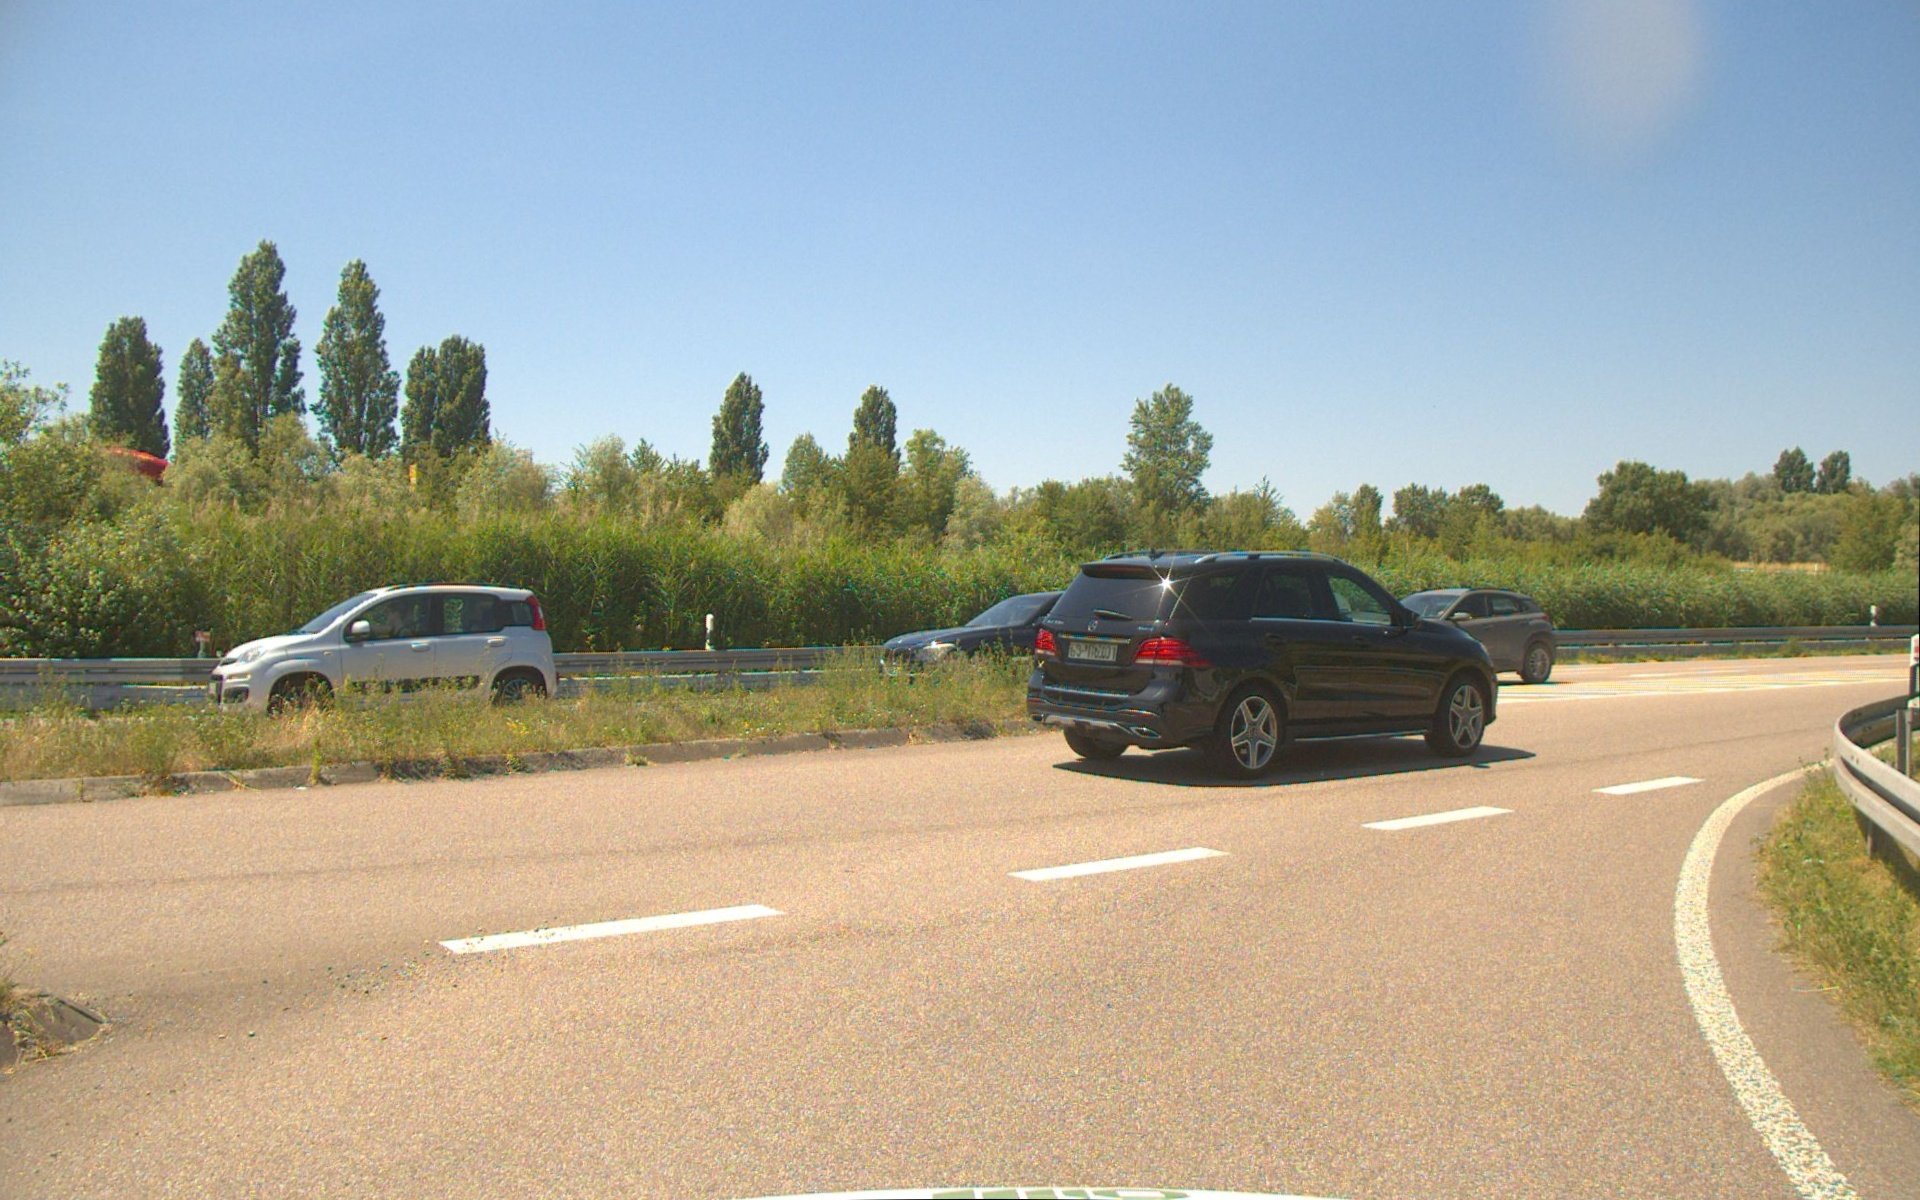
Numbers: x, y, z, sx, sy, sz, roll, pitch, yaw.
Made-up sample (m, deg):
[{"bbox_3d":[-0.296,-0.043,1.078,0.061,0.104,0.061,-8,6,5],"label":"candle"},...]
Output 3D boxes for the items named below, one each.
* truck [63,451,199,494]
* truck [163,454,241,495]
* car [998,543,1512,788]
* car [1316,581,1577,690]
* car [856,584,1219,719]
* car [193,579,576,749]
[{"bbox_3d":[-58.743,-9.001,117.296,8.422,2.721,1.976,-1,0,-34],"label":"truck"},{"bbox_3d":[-54.914,-9.068,119.846,5.036,2.721,1.980,-1,0,-30],"label":"truck"},{"bbox_3d":[2.662,0.477,14.314,4.552,1.798,1.906,0,0,-39],"label":"car"},{"bbox_3d":[8.078,0.534,27.378,4.185,1.660,1.912,-1,0,-33],"label":"car"},{"bbox_3d":[1.132,0.643,23.090,4.878,1.660,1.912,-1,0,-32],"label":"car"},{"bbox_3d":[-6.271,0.623,18.134,3.674,1.660,1.714,-1,0,-34],"label":"car"}]
